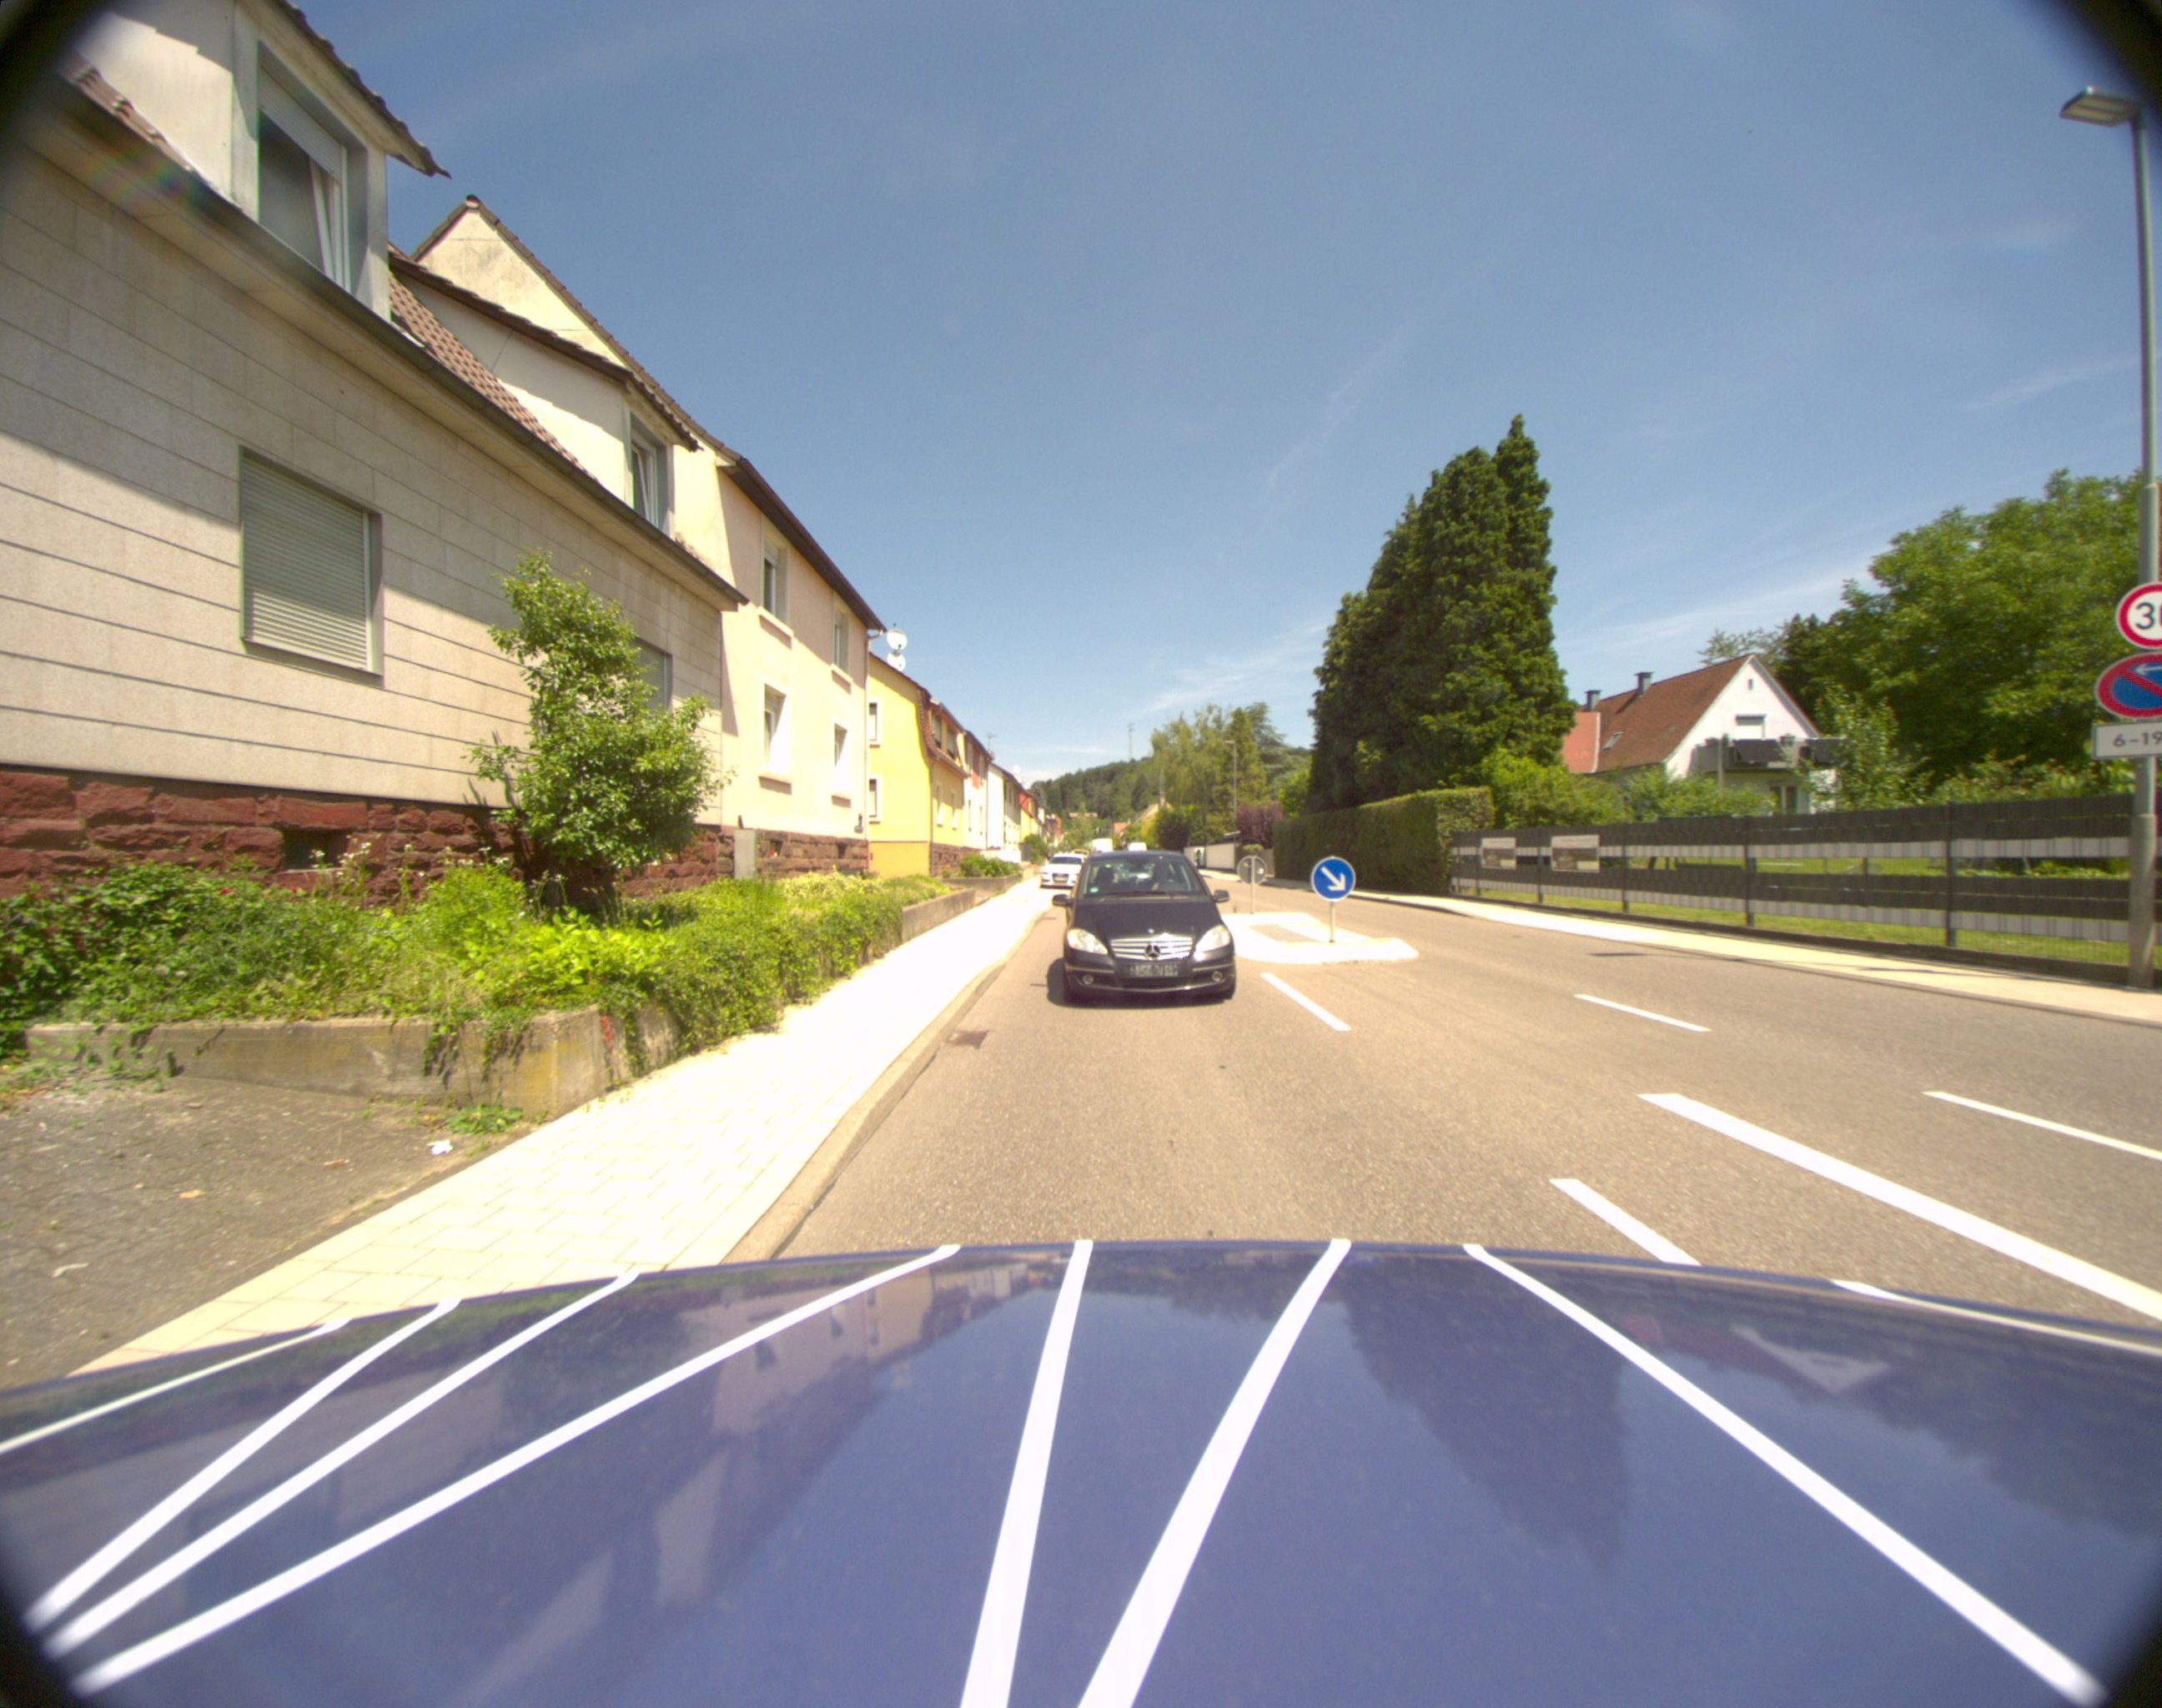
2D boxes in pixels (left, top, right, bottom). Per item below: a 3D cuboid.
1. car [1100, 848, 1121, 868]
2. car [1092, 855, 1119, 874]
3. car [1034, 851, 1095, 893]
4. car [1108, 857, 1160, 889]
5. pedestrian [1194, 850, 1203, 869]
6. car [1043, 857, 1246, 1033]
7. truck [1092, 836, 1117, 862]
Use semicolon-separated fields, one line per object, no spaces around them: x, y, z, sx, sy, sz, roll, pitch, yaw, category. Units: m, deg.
3.198;0.486;83.067;1.999;2.001;4.548;-3;-1;-1;car
2.017;0.844;62.903;1.864;1.441;3.999;-4;0;-2;car
-0.610;0.684;31.874;1.997;1.510;4.145;4;1;5;car
2.317;0.809;34.203;1.910;1.296;4.155;-1;0;-2;car
9.118;0.438;58.818;0.555;1.477;0.483;-2;1;0;pedestrian
0.614;0.860;9.168;1.868;1.580;4.156;-1;0;1;car
3.181;-0.674;105.005;3.149;3.467;8.271;-1;1;1;truck
